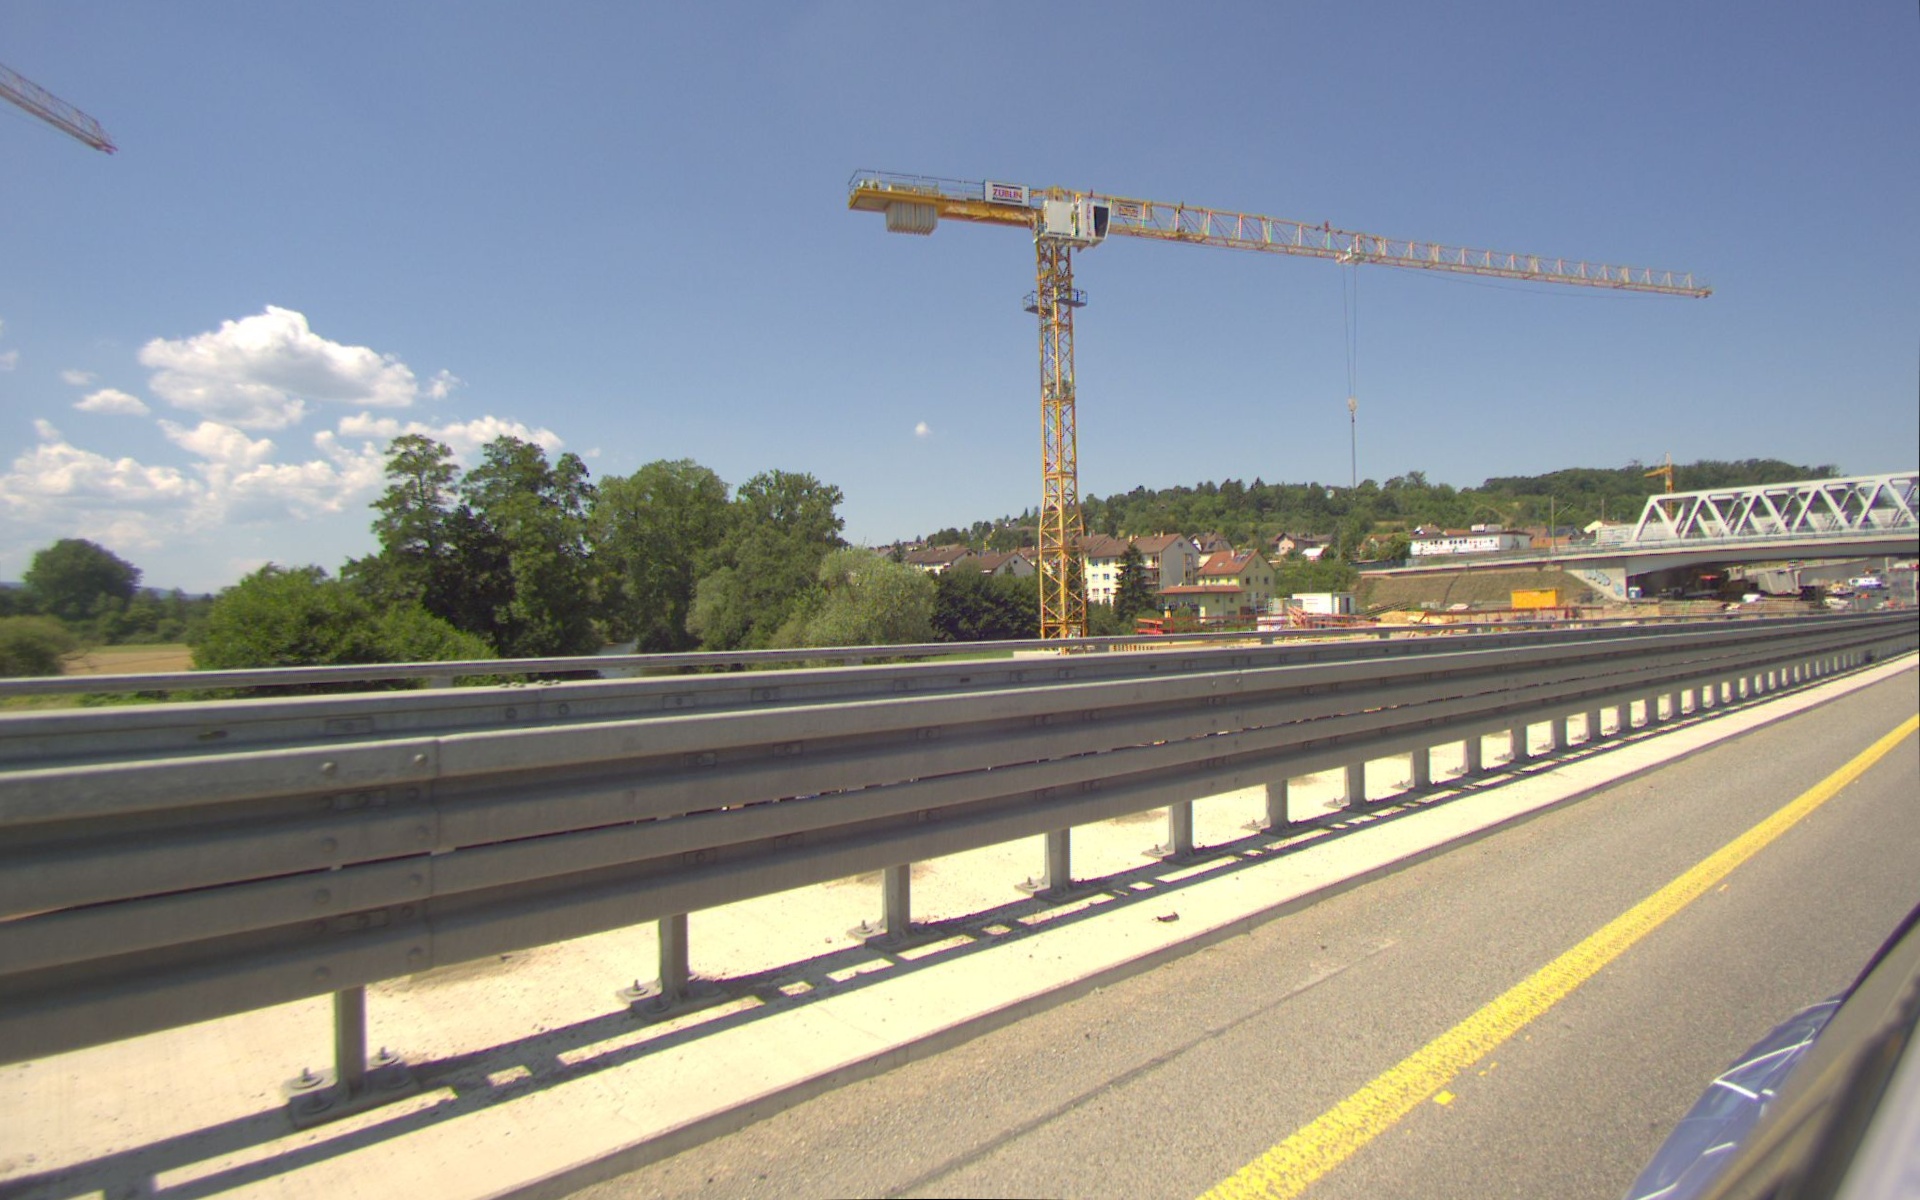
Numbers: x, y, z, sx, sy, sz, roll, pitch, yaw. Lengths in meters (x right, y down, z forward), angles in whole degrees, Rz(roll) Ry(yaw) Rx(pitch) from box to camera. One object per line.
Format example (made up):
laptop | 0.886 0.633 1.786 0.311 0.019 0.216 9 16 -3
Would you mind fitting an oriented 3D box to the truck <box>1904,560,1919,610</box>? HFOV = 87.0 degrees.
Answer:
truck | 74.502 -1.139 76.698 2.684 3.773 8.412 0 1 32
